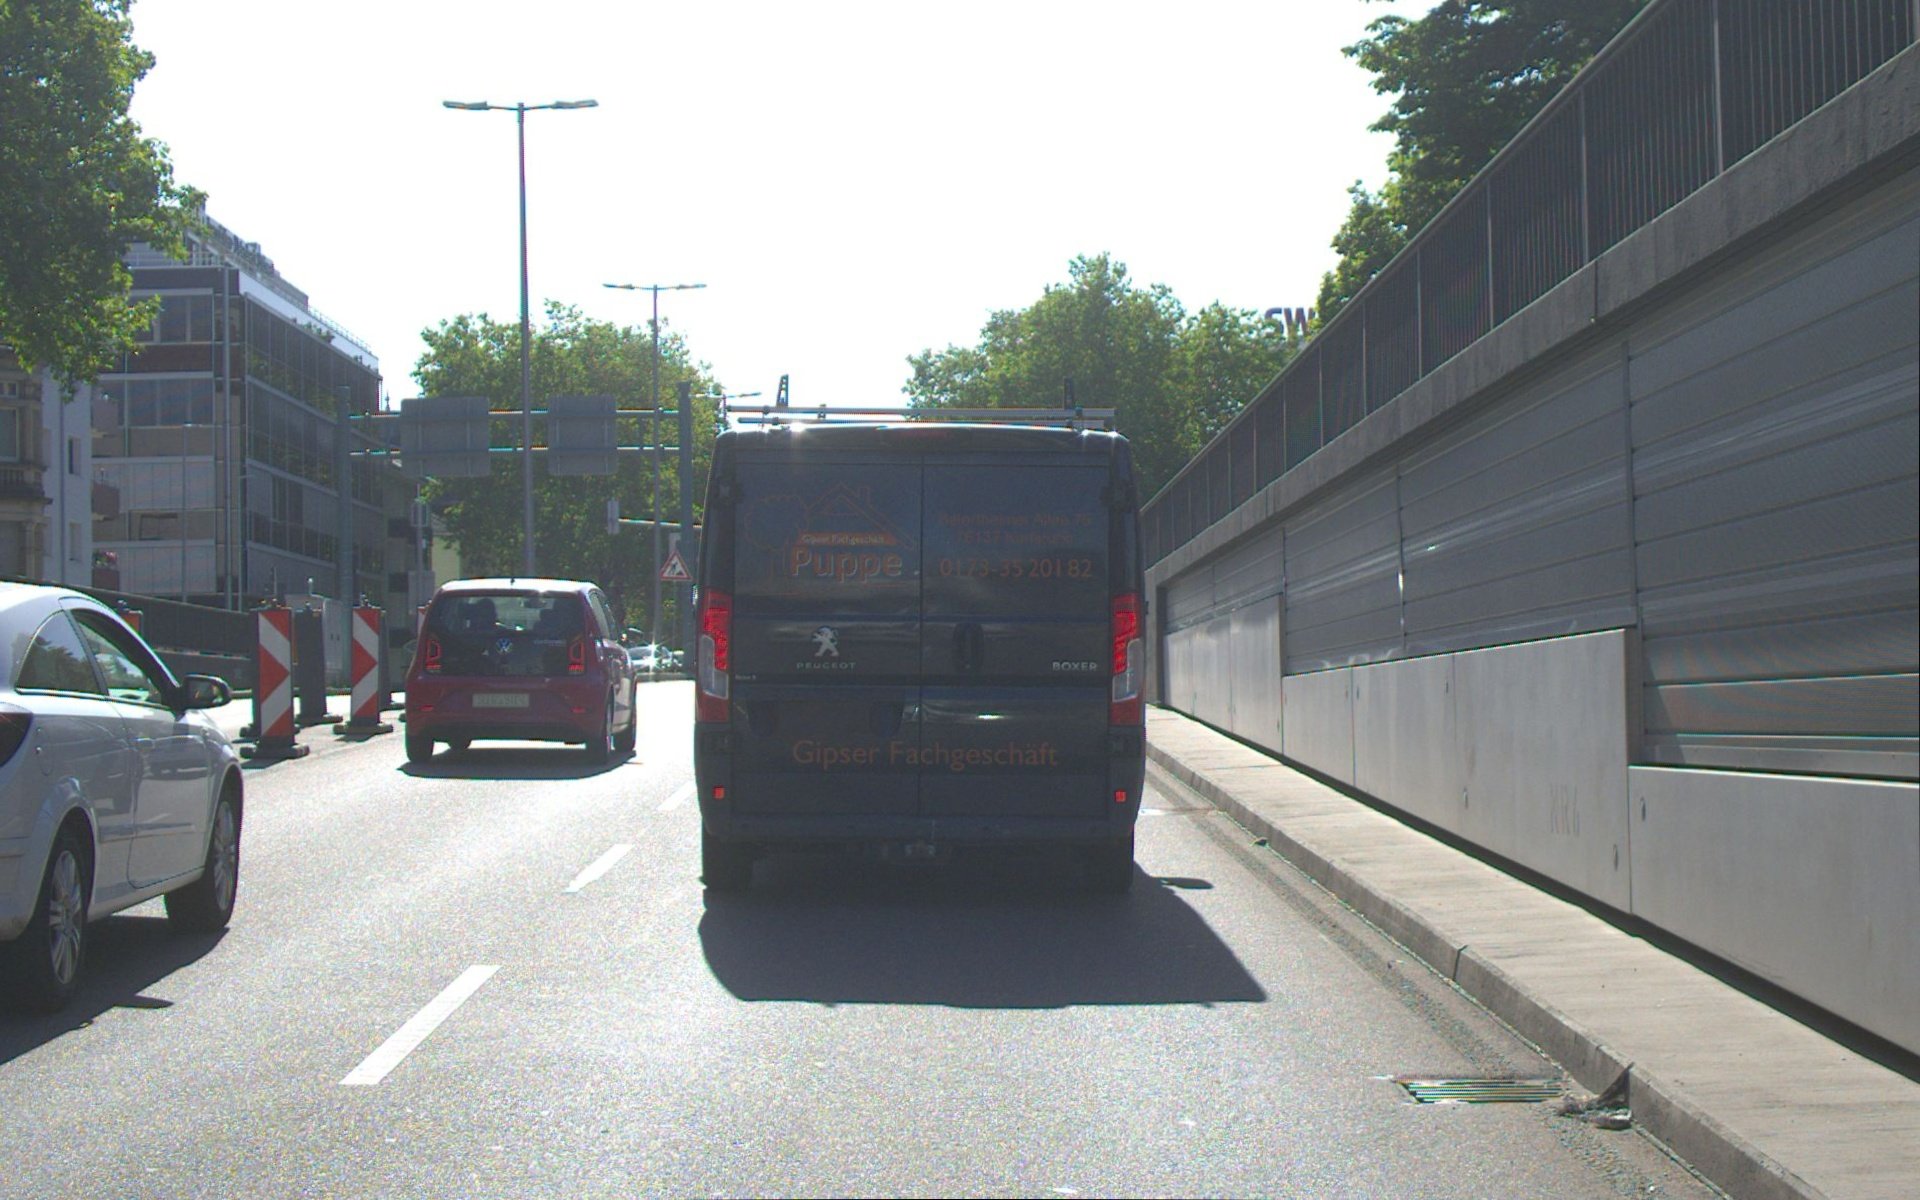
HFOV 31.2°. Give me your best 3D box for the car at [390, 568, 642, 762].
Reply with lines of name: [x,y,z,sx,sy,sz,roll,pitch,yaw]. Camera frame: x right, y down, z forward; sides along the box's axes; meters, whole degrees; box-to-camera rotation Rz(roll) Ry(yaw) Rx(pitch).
car: [-3.583,0.510,28.231,1.689,1.478,3.319,1,0,-1]

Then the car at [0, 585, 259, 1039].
car: [-3.733,0.648,12.504,1.619,1.398,3.852,1,0,-1]

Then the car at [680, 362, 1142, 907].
car: [-0.236,0.157,17.099,2.030,2.394,3.973,0,0,-1]
